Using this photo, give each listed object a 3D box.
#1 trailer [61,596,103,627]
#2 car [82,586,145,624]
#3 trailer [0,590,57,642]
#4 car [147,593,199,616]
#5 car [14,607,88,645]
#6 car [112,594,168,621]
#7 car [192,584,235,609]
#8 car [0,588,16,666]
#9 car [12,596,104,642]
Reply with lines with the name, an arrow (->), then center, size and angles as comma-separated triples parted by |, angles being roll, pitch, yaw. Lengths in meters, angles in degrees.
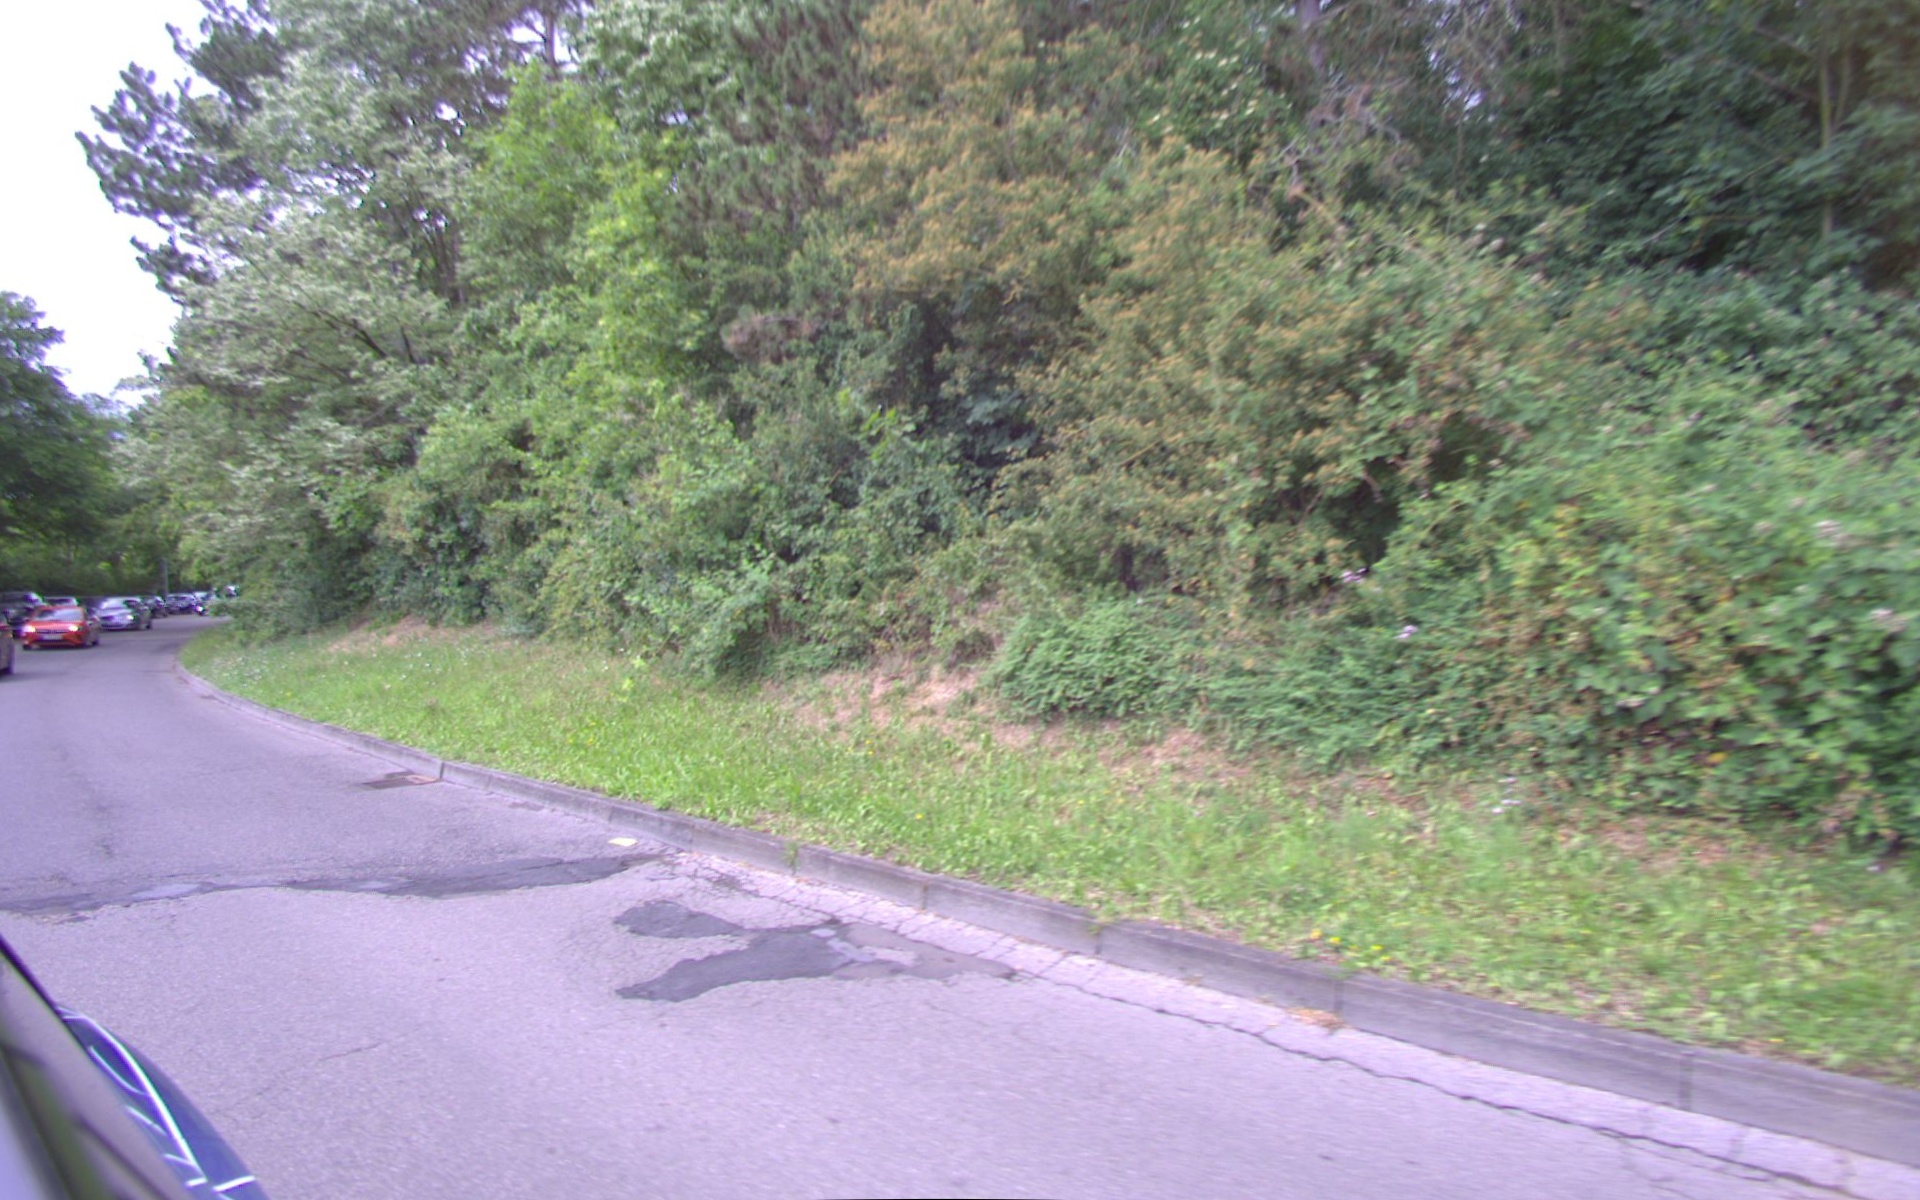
trailer -> -46.975, 0.589, 54.178 | 1.355, 1.616, 2.274 | -2, 1, -32
car -> -40.239, 0.212, 48.195 | 1.892, 1.694, 4.010 | 1, 0, -35
trailer -> -40.455, 0.615, 43.085 | 1.966, 1.947, 5.911 | -1, 2, -32
car -> -54.273, 0.292, 69.854 | 1.836, 1.459, 4.190 | -1, 1, -24
car -> -43.286, 1.235, 48.295 | 1.815, 1.697, 4.613 | 0, -1, -32
car -> -51.629, 0.427, 63.787 | 1.836, 1.579, 4.189 | -2, 1, -26
car -> -50.260, -0.255, 68.213 | 1.739, 1.528, 4.013 | -2, 2, -28
car -> -21.729, 0.583, 21.590 | 1.968, 1.640, 4.634 | -2, 1, -39
car -> -31.401, 0.618, 35.348 | 1.837, 1.459, 4.187 | -2, 1, -34
